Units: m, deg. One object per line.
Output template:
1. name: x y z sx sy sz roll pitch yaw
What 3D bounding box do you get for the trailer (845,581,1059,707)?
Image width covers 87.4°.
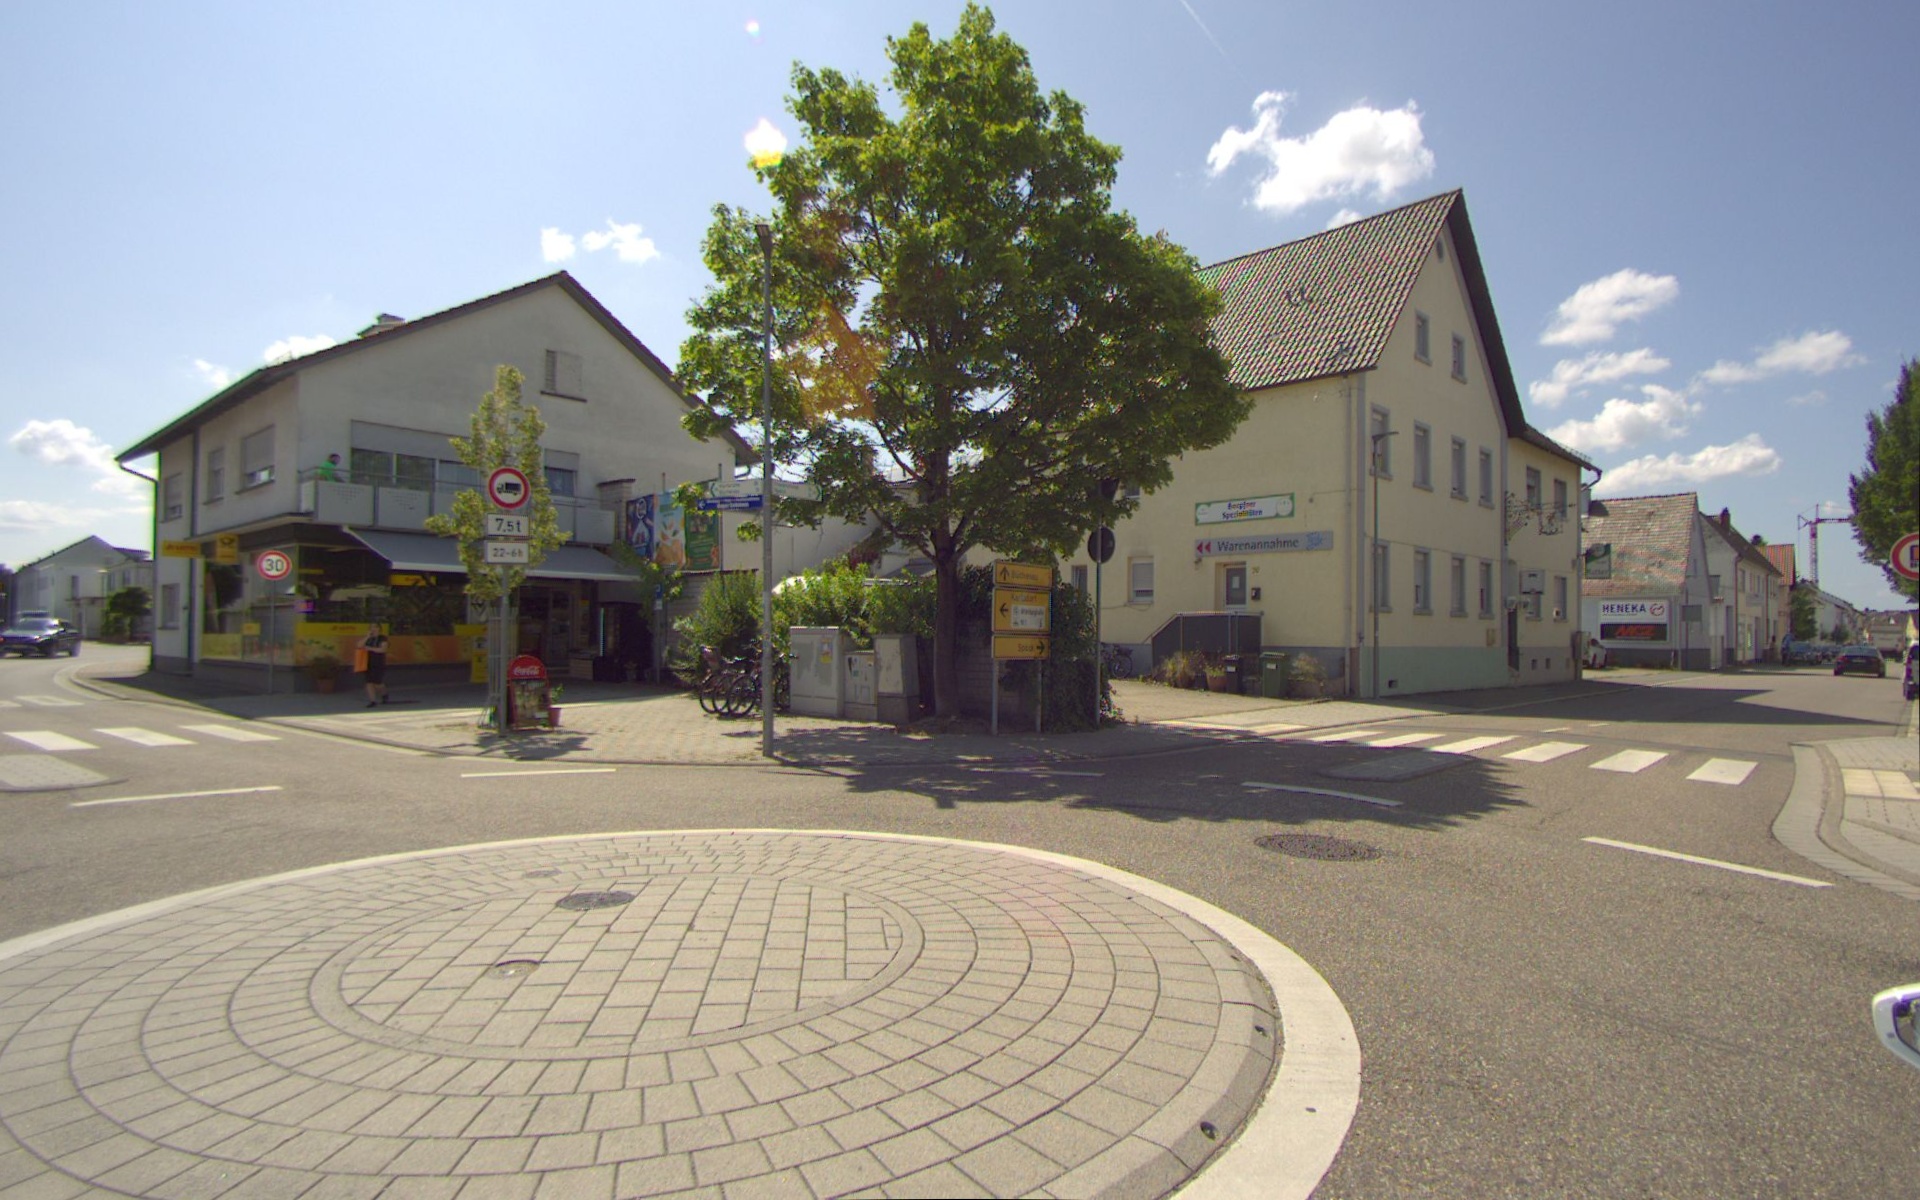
1. trailer: -0.068 0.884 21.226 1.859 2.366 4.496 1 -1 44

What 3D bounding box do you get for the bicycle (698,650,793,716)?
1. bicycle: -3.760 1.439 17.766 0.394 1.017 1.978 0 0 32

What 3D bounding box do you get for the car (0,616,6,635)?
1. car: -97.568 2.508 100.935 4.070 1.878 2.082 -1 -2 41

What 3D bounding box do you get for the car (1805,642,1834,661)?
1. car: 77.021 4.627 90.022 1.790 1.610 3.977 0 -2 43

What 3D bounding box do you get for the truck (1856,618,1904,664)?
1. truck: 92.244 4.099 100.685 3.113 4.306 9.244 2 -1 45

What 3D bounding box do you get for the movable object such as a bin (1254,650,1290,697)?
1. movable object such as a bin: 7.534 1.762 24.220 0.654 1.093 0.594 2 -2 -44

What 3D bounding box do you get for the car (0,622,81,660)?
1. car: -38.929 1.698 42.358 1.858 1.368 4.383 3 -1 -29

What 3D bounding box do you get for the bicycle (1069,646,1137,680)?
1. bicycle: 4.170 1.832 29.464 0.538 0.925 2.151 2 -3 -40

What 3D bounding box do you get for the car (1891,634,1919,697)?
1. car: 29.511 1.960 30.505 1.701 1.813 4.122 -3 -3 42

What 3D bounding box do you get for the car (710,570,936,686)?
1. car: -3.299 0.699 25.312 1.916 2.601 5.613 1 -1 44

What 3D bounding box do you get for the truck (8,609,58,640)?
1. truck: -76.145 2.030 82.461 5.780 2.483 2.237 -1 -2 40

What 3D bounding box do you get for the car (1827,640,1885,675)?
1. car: 44.185 2.804 49.504 1.883 1.584 4.448 0 -2 45

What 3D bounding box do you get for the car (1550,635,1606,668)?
1. car: 31.737 2.625 51.499 1.700 1.576 4.176 1 -1 42

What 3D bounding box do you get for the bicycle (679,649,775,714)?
1. bicycle: -4.146 1.426 17.988 0.394 1.017 1.978 0 0 32

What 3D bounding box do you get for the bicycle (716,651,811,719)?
1. bicycle: -3.389 1.450 17.516 0.394 1.017 1.978 0 0 32

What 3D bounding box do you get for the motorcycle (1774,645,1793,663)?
1. motorcycle: 56.962 3.705 69.475 0.837 1.185 2.456 2 -1 42

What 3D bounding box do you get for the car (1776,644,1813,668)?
1. car: 59.865 4.008 72.029 1.790 1.610 3.977 0 -2 43

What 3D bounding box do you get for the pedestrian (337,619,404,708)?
1. pedestrian: -10.968 1.169 18.709 0.735 1.610 0.880 0 0 -3

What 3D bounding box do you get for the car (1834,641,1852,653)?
1. car: 124.346 6.601 141.485 1.790 1.610 3.977 0 -2 43

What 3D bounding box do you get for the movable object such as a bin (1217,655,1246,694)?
1. movable object such as a bin: 6.723 1.848 24.883 0.543 0.940 0.474 2 -2 -44
